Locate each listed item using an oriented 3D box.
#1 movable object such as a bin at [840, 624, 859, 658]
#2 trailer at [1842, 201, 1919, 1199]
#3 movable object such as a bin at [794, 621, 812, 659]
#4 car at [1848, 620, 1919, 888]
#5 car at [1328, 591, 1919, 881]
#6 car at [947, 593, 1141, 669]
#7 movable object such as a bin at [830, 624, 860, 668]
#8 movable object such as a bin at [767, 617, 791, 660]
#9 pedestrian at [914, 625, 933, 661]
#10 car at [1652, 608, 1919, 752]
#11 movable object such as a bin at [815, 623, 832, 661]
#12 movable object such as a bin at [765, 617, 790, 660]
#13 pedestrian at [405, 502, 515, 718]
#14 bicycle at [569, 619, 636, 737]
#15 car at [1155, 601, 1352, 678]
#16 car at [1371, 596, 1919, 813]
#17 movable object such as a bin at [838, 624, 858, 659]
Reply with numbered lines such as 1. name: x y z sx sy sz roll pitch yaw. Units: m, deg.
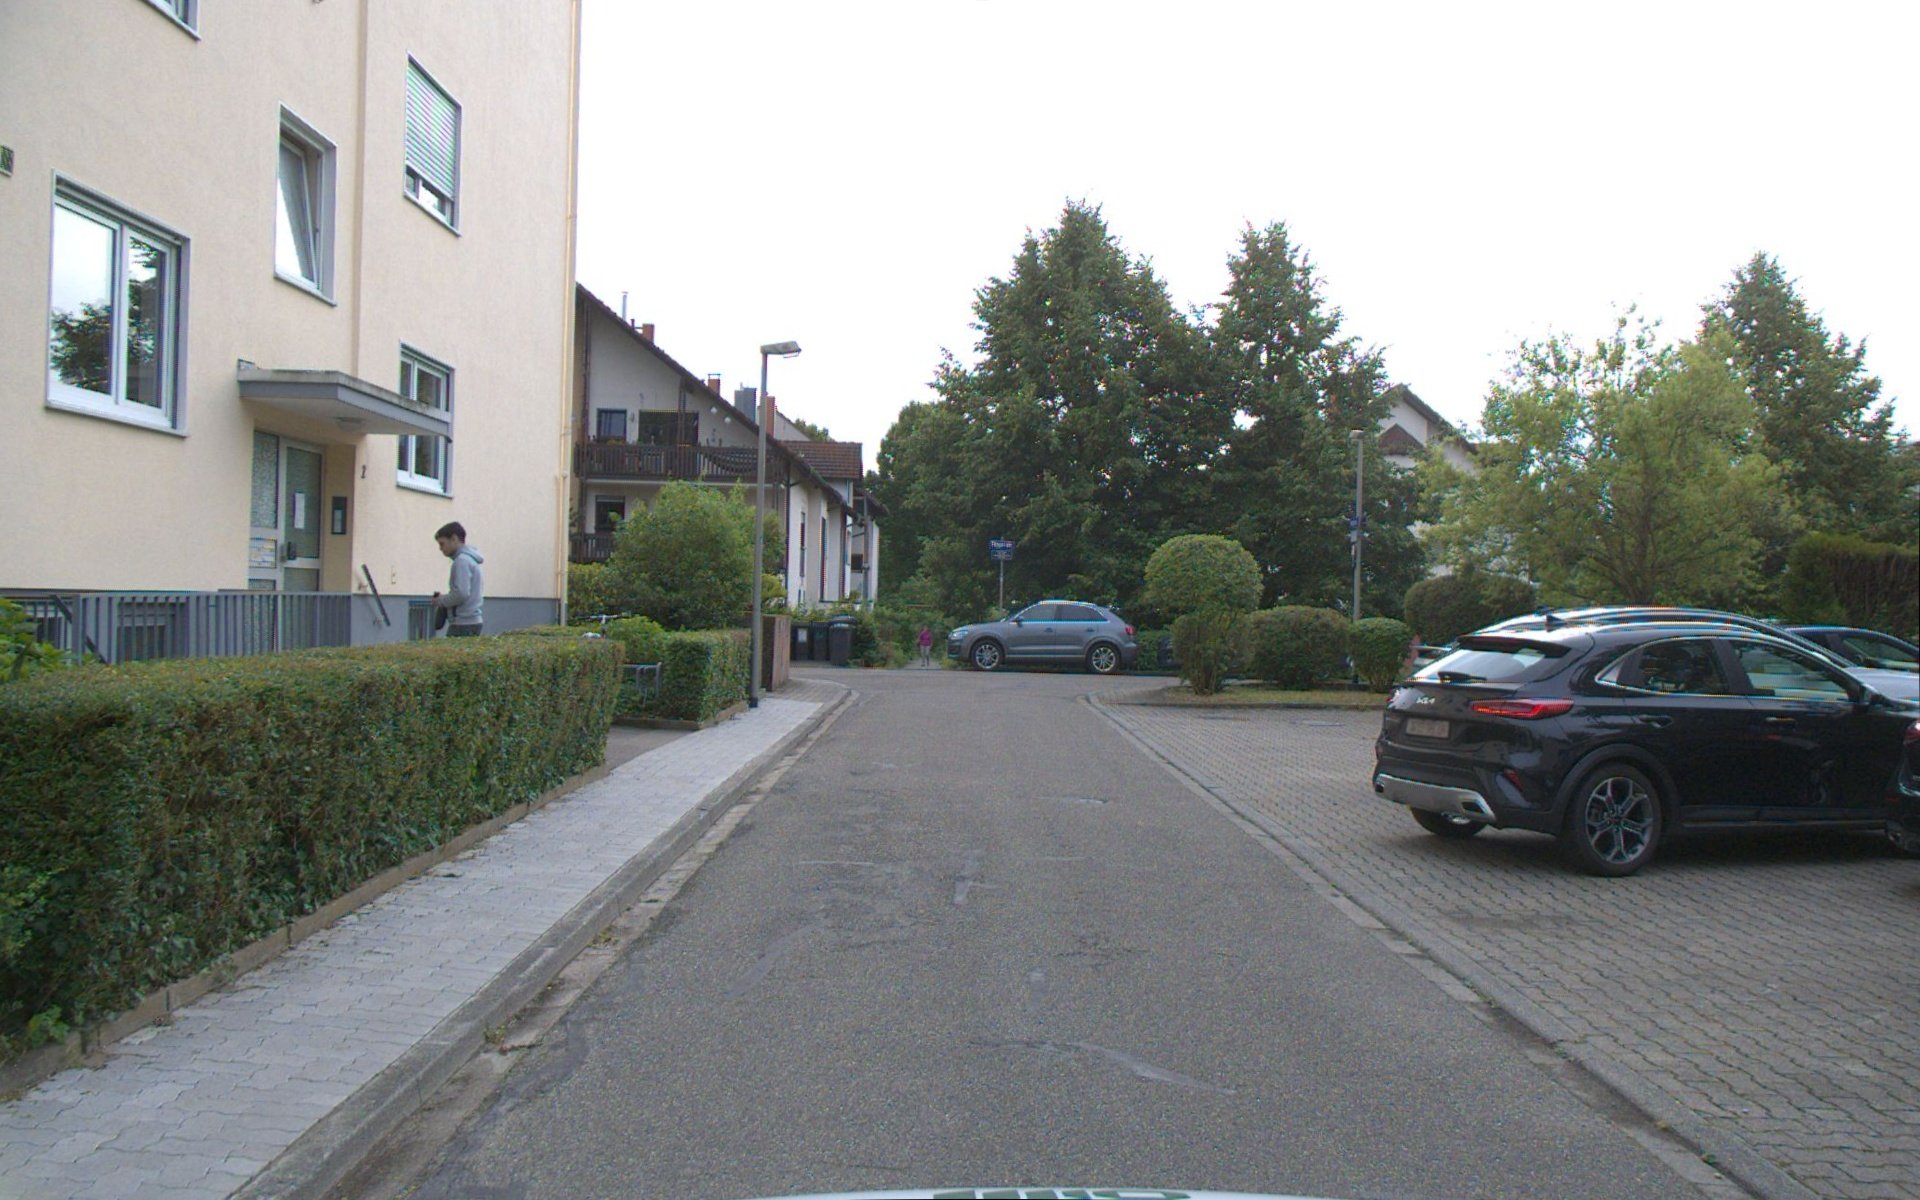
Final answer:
1. movable object such as a bin: -2.715 1.012 40.654 0.450 0.811 0.379 2 0 -3
2. trailer: 4.633 0.346 3.453 4.515 2.569 1.942 2 0 0
3. movable object such as a bin: -3.813 0.972 40.227 0.378 0.917 0.379 2 0 -3
4. car: 7.278 0.886 8.954 3.913 1.474 1.916 1 0 2
5. car: 4.672 0.761 10.928 3.927 1.579 1.989 -1 0 -19
6. car: 1.817 0.706 36.684 4.151 1.558 1.747 1 -2 -1
7. movable object such as a bin: -2.686 1.069 38.624 0.625 0.970 0.723 2 0 -2
8. movable object such as a bin: -4.376 0.927 40.048 0.526 1.011 0.337 2 0 -3
9. pedestrian: -1.553 1.844 70.707 0.799 1.544 0.438 1 -1 -3
10. car: 10.393 0.904 19.253 3.818 1.537 2.027 1 0 -1
11. movable object such as a bin: -3.324 1.020 40.259 0.378 0.905 0.379 2 0 -3
12. movable object such as a bin: -4.371 0.916 39.616 0.526 1.011 0.337 2 0 -3
13. pedestrian: -4.272 0.088 14.186 0.665 1.779 0.756 2 0 -2
14. bicycle: -3.517 0.745 16.334 0.311 1.094 1.418 2 -1 0
15. car: 6.394 0.879 36.409 4.093 1.558 1.748 1 -2 4
16. car: 5.901 0.812 13.839 4.443 1.616 1.988 1 0 1
17. movable object such as a bin: -2.718 1.001 40.104 0.450 0.811 0.379 2 0 -3
